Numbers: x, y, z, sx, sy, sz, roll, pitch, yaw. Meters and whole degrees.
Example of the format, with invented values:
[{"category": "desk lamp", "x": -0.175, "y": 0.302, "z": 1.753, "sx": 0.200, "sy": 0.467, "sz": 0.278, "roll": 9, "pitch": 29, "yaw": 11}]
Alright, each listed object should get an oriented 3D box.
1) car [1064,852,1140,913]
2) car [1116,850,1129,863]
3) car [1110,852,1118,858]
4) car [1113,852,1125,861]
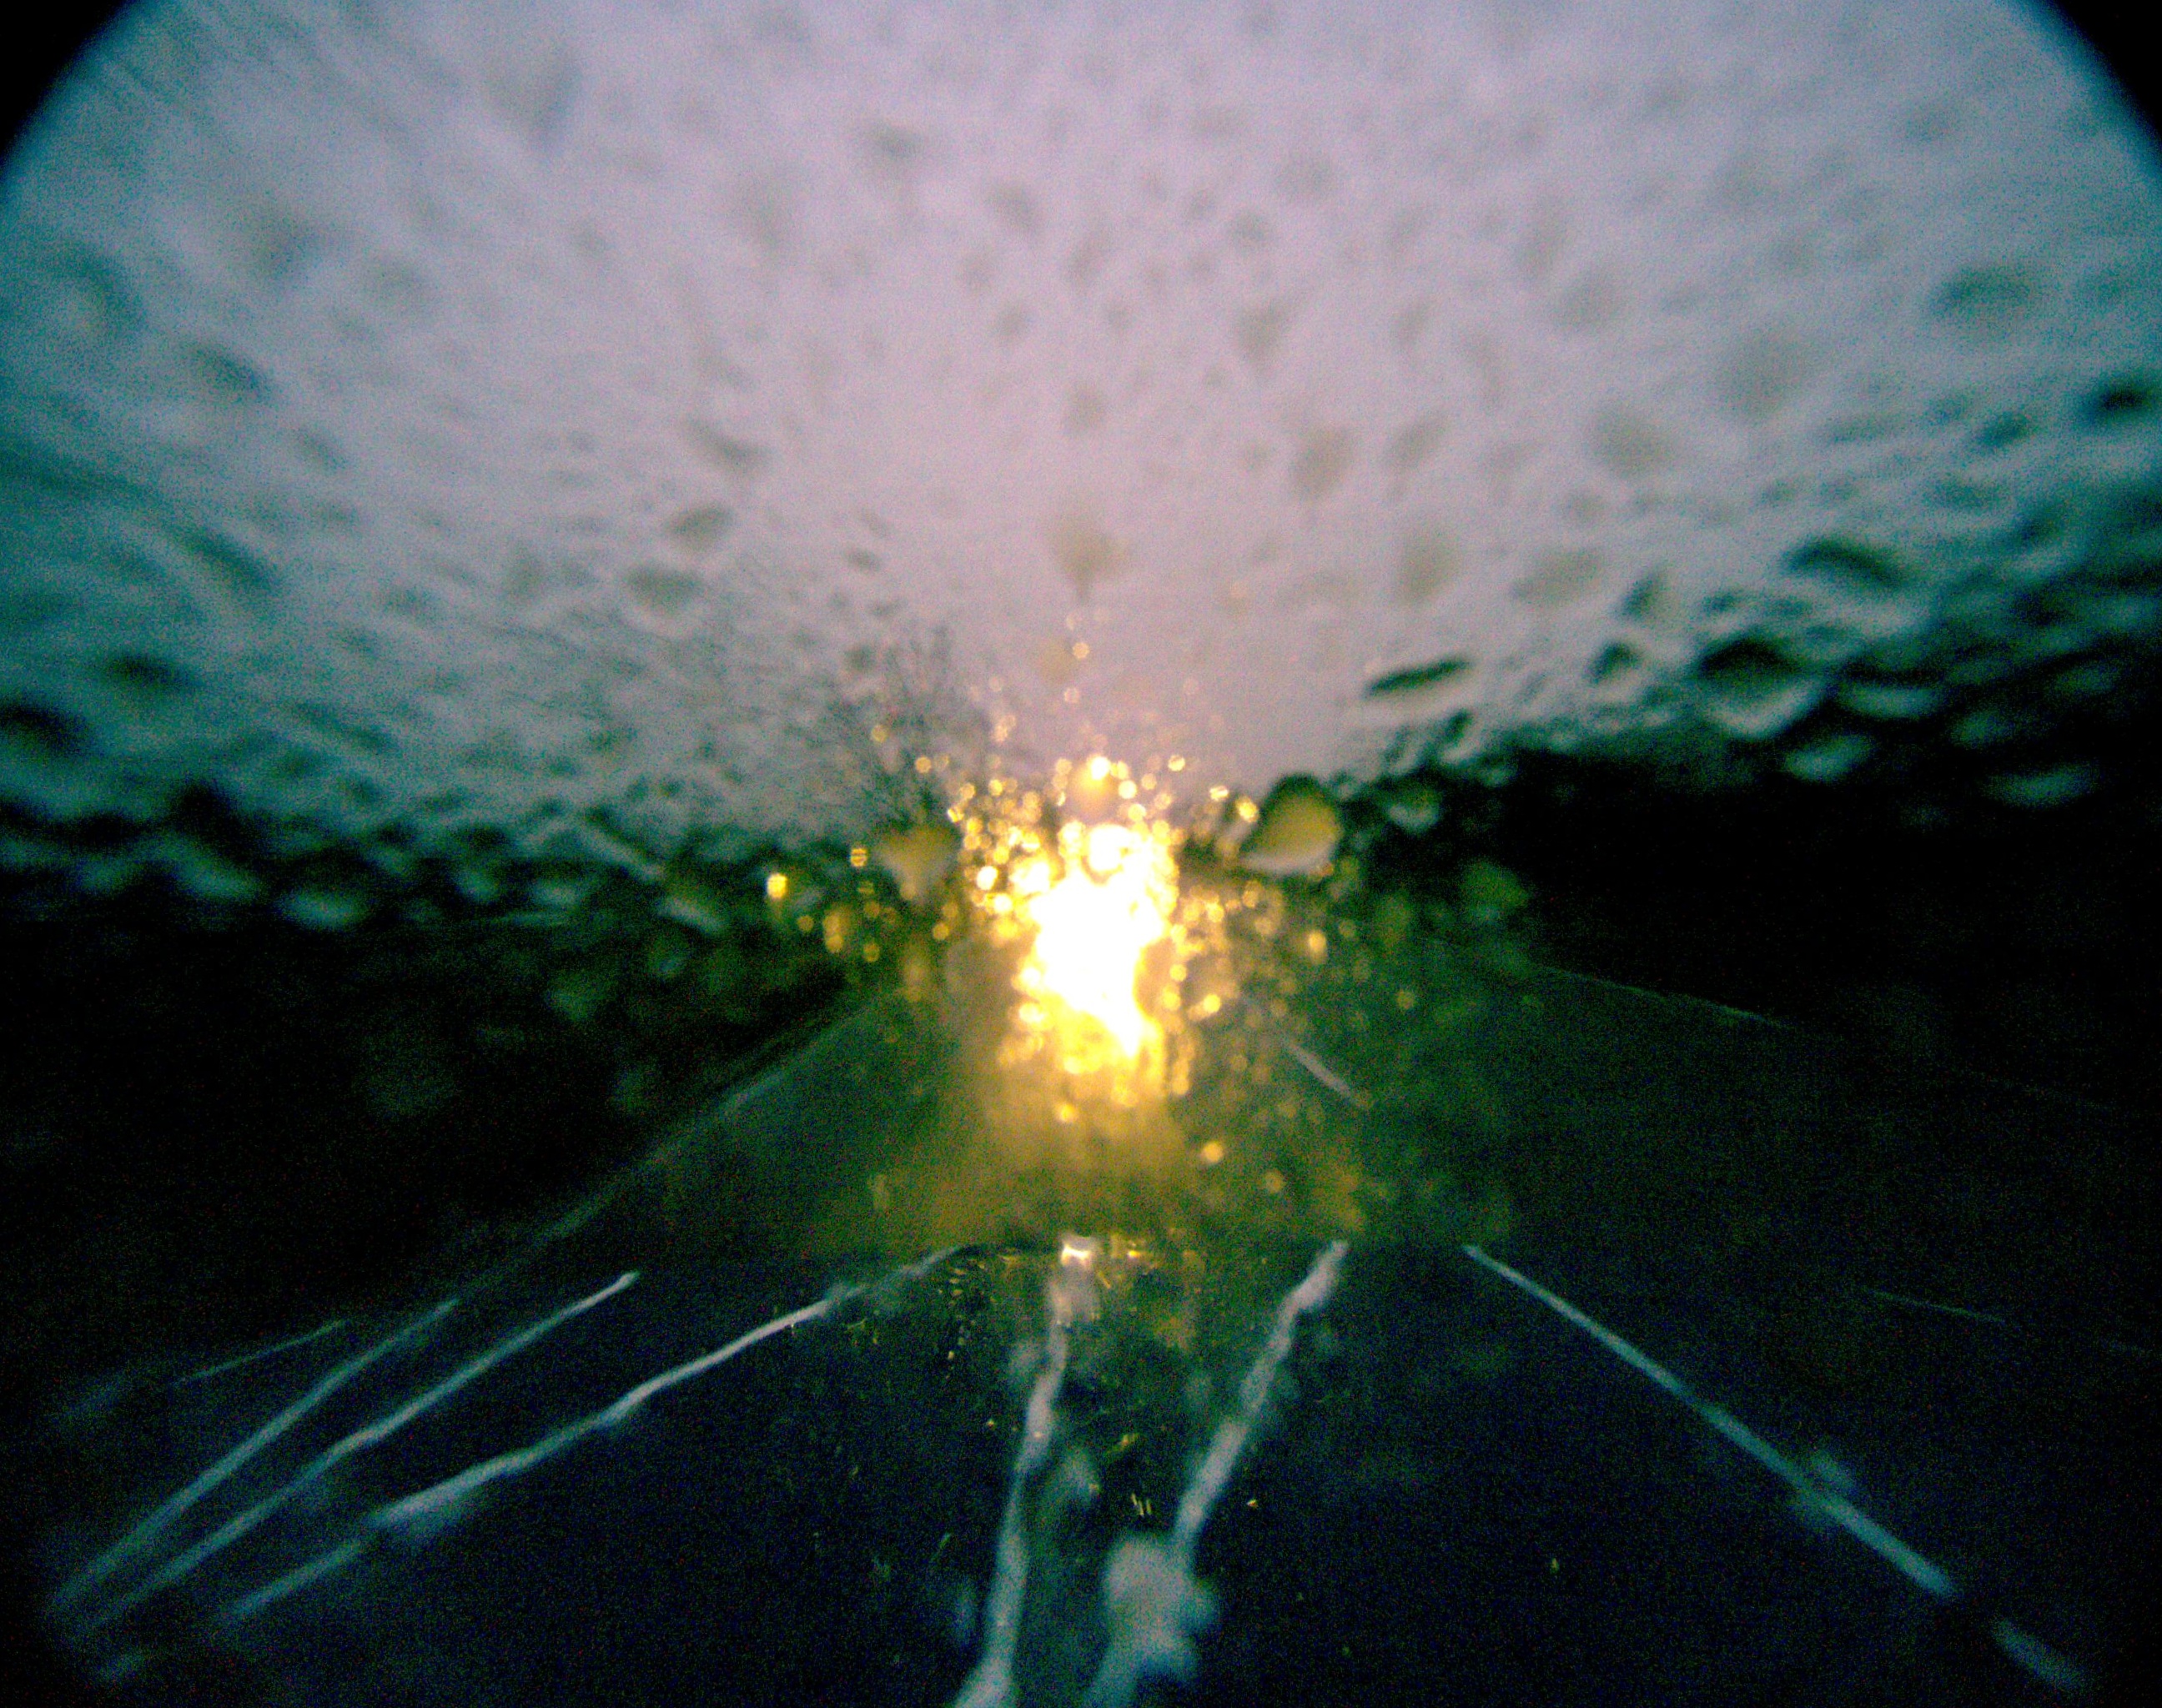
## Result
[{"category": "car", "x": 0.733, "y": 0.780, "z": 22.973, "sx": 1.998, "sy": 1.601, "sz": 4.001, "roll": -2, "pitch": 0, "yaw": 5}, {"category": "car", "x": 5.834, "y": 0.323, "z": 107.236, "sx": 1.763, "sy": 1.631, "sz": 4.686, "roll": -3, "pitch": 0, "yaw": 2}, {"category": "car", "x": 7.538, "y": 0.230, "z": 175.984, "sx": 1.755, "sy": 1.465, "sz": 3.891, "roll": -2, "pitch": 0, "yaw": 1}, {"category": "car", "x": 6.460, "y": 0.377, "z": 129.923, "sx": 1.830, "sy": 1.490, "sz": 4.095, "roll": -2, "pitch": 0, "yaw": 0}]
